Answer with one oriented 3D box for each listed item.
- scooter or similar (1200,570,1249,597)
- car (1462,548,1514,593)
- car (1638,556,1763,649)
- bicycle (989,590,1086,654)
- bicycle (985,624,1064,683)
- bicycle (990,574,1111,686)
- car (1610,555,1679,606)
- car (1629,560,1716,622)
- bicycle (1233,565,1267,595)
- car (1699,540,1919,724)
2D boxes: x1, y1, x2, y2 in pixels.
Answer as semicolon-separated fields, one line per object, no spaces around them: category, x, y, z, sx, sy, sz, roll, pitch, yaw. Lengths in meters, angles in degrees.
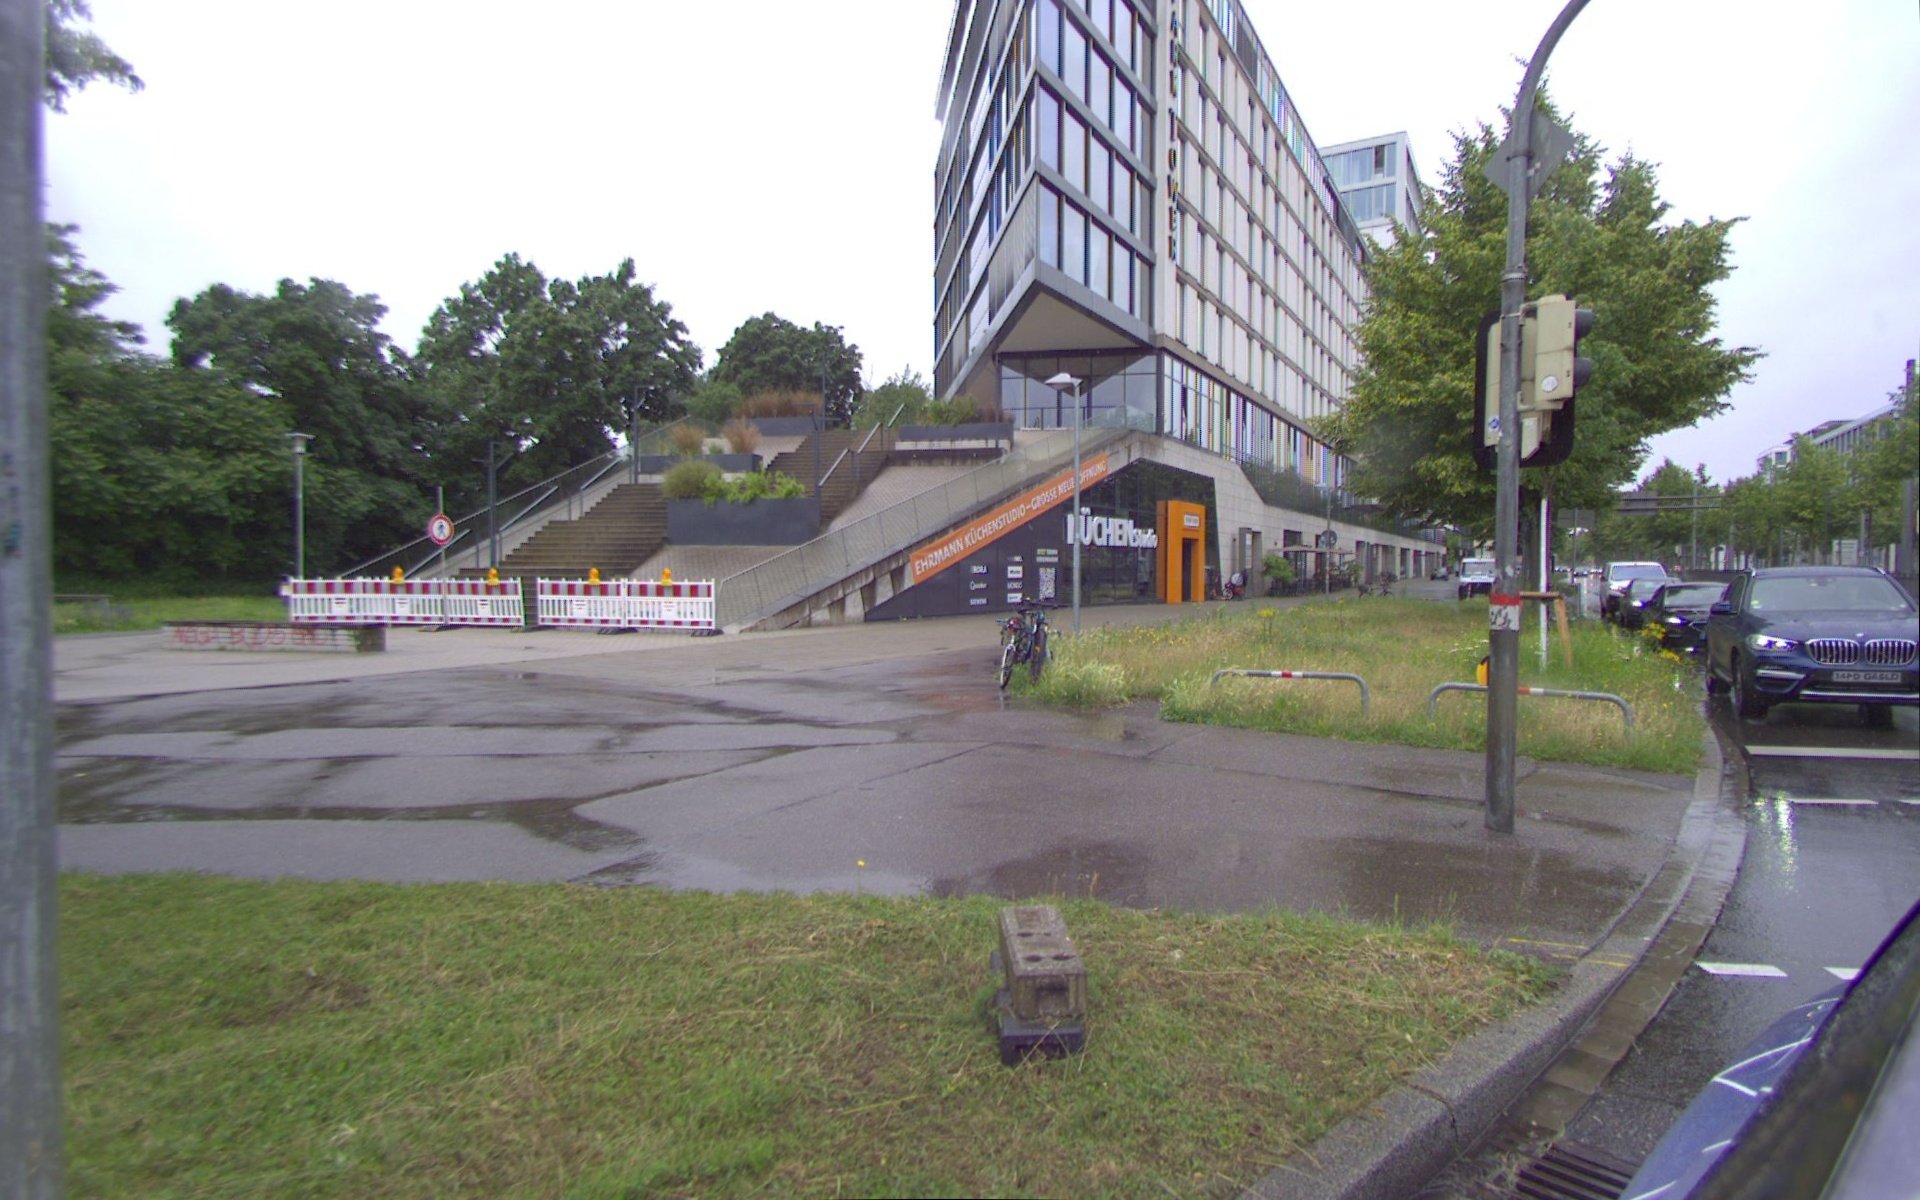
scooter or similar;11.881;-0.767;45.354;2.569;1.113;0.811;-3;1;-41
car;27.918;-1.569;53.446;2.069;2.229;5.042;-2;1;31
car;15.601;-0.009;21.398;1.906;1.768;4.328;-2;1;36
bicycle;1.201;0.291;15.116;0.631;0.857;2.142;0;1;28
bicycle;0.737;0.609;12.066;0.314;0.565;1.807;-1;1;-17
bicycle;1.028;0.298;12.213;0.542;1.204;2.531;0;1;-17
car;24.483;-0.716;36.300;1.774;1.668;3.957;-2;1;31
car;20.919;-0.294;29.847;1.774;1.668;3.957;-2;1;31
bicycle;13.760;-0.952;47.996;0.876;1.364;2.668;-2;1;31
car;10.050;0.248;11.772;1.902;1.768;4.336;-2;1;31
